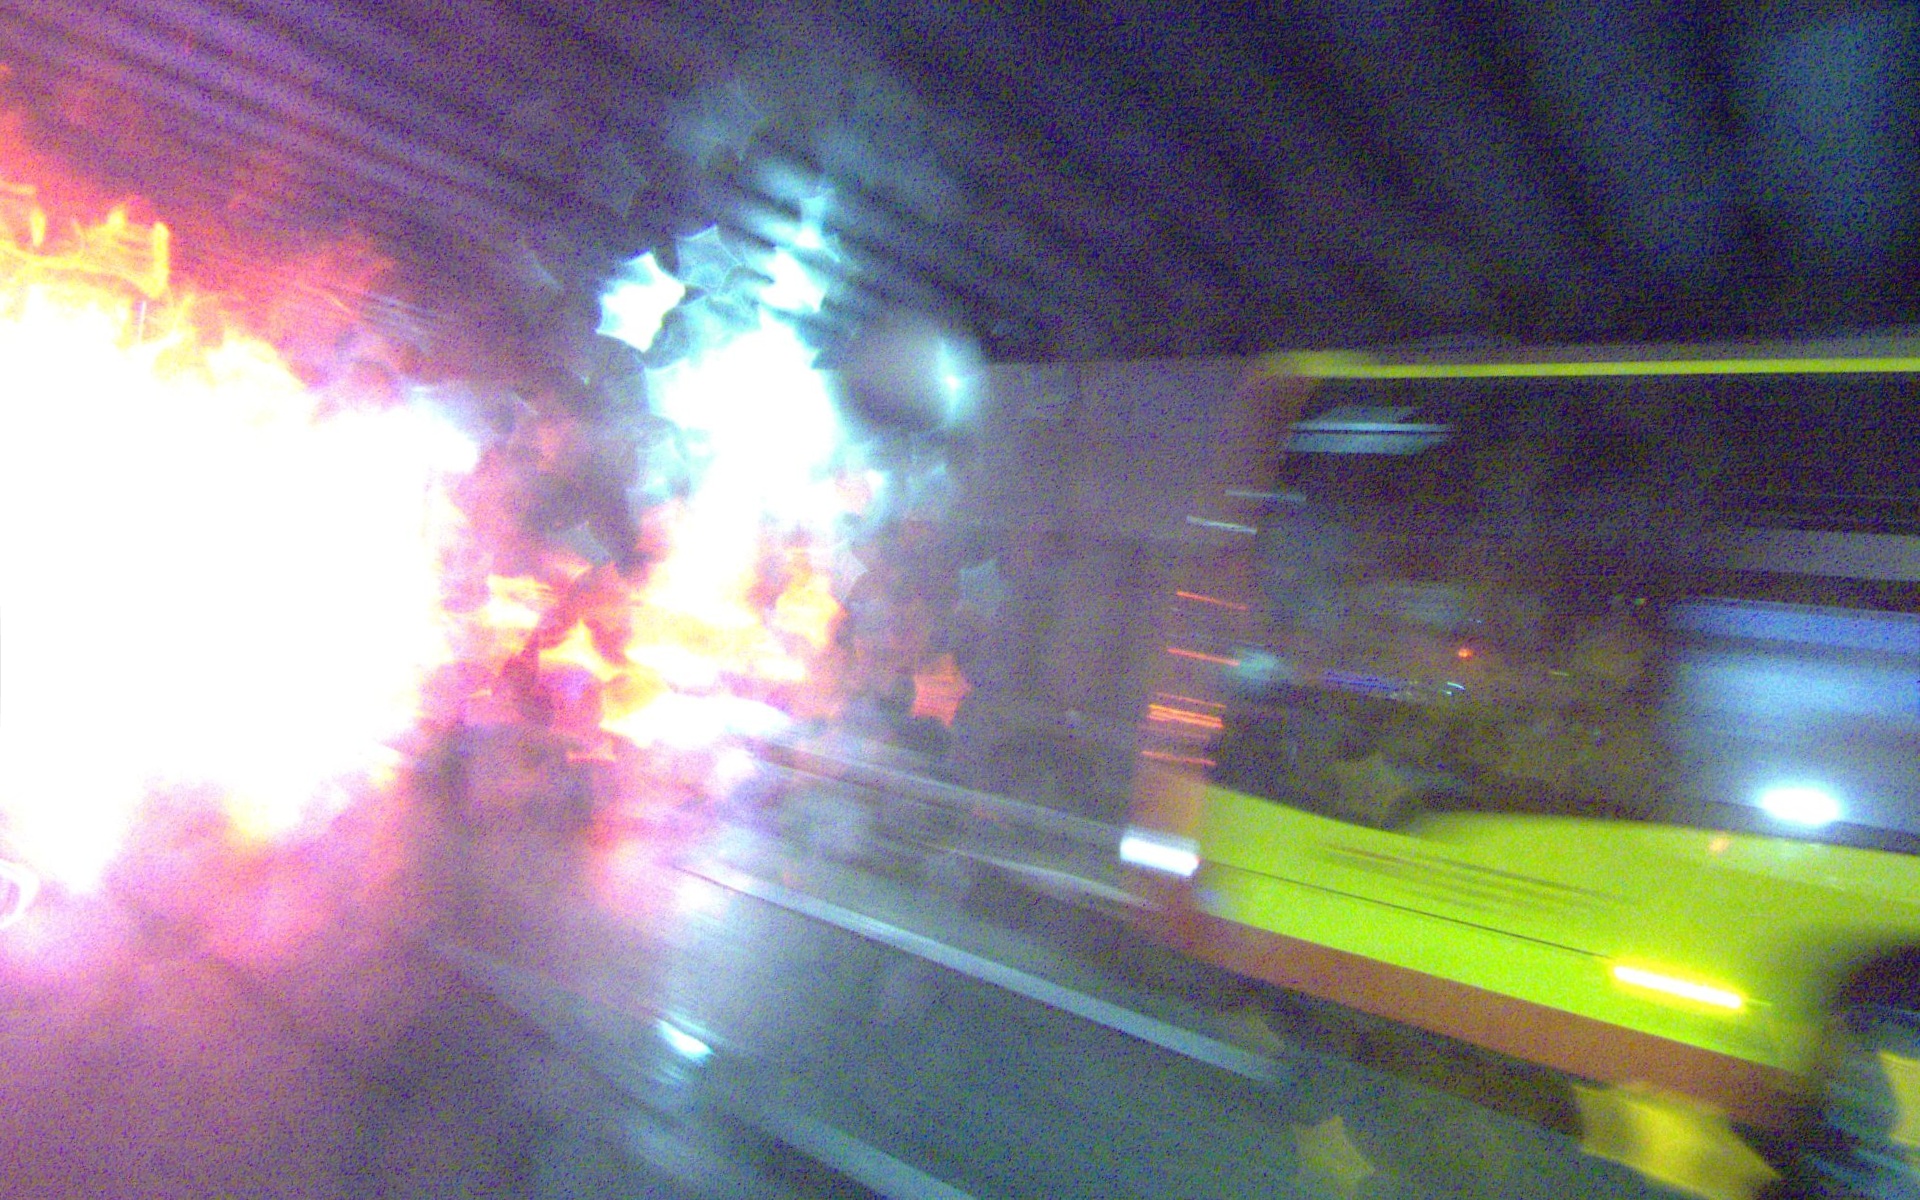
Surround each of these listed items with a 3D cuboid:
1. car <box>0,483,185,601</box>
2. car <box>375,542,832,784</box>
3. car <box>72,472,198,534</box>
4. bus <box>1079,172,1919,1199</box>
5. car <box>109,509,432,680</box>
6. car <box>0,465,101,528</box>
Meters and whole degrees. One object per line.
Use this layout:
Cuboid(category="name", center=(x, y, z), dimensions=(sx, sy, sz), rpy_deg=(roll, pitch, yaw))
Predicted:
Cuboid(category="car", center=(-14.044, -0.976, 15.902), dimensions=(4.098, 1.465, 1.719), rpy_deg=(7, 1, 36))
Cuboid(category="car", center=(-3.372, 0.455, 9.265), dimensions=(4.094, 1.506, 1.721), rpy_deg=(7, 1, 33))
Cuboid(category="car", center=(-37.938, -4.426, 46.340), dimensions=(4.278, 2.037, 2.021), rpy_deg=(8, -1, -41))
Cuboid(category="bus", center=(5.452, 0.686, 3.063), dimensions=(9.538, 3.316, 2.738), rpy_deg=(7, 0, 31))
Cuboid(category="car", center=(-8.531, -0.126, 12.279), dimensions=(4.713, 1.505, 1.720), rpy_deg=(7, 0, 36))
Cuboid(category="car", center=(-38.427, -4.328, 41.554), dimensions=(4.276, 2.037, 2.022), rpy_deg=(8, -1, -40))
